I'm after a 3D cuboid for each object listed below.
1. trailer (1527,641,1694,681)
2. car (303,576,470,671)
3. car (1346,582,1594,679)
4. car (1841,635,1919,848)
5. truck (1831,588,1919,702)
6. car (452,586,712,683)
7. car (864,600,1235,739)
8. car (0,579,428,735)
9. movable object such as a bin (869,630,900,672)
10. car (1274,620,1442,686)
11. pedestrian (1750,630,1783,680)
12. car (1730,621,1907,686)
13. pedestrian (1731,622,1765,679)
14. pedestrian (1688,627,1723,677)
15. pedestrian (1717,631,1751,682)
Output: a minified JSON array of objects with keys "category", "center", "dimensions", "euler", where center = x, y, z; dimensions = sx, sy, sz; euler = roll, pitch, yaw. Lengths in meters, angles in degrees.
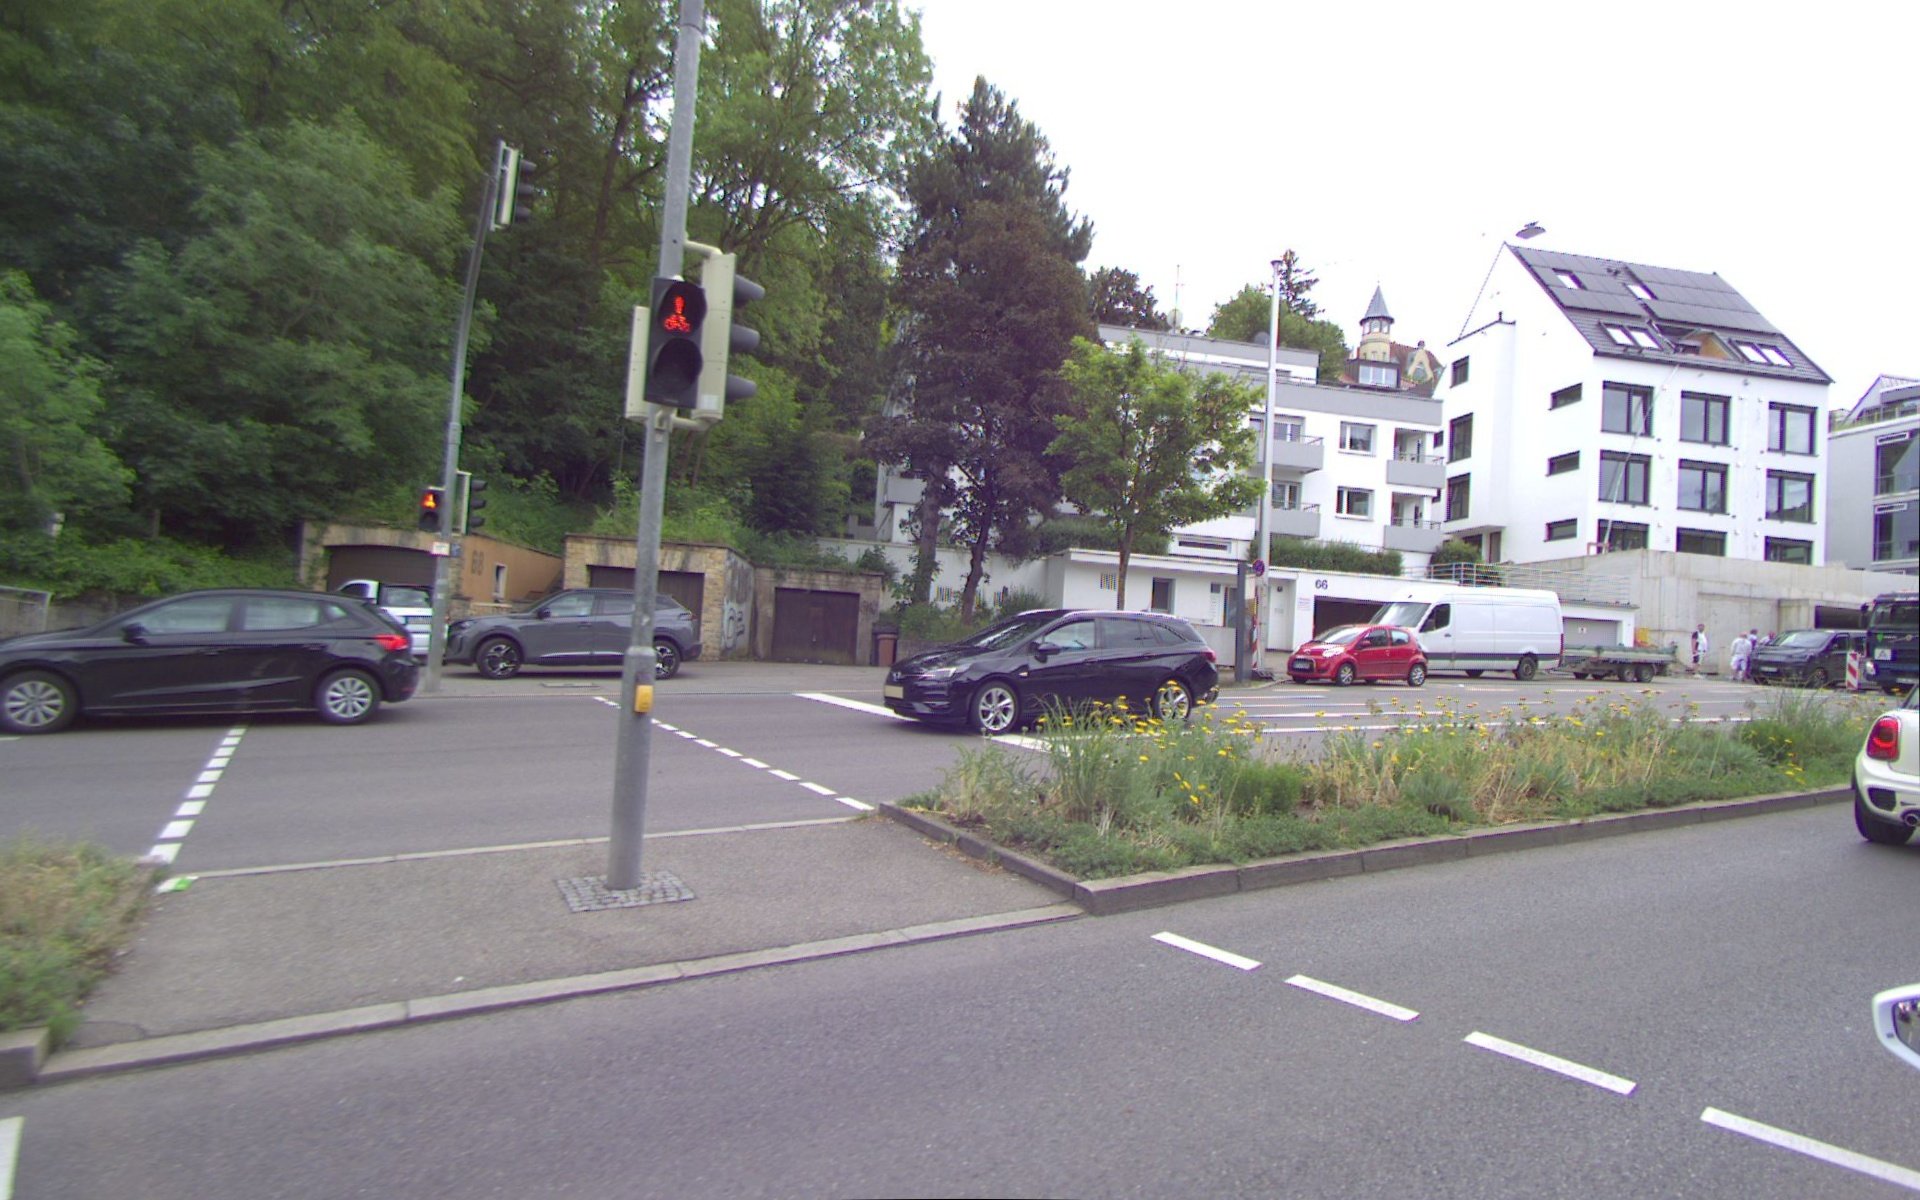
[{"category":"trailer","center":[20.450,1.918,31.609],"dimensions":[4.555,1.126,2.242],"euler":[2,-1,-22]},{"category":"car","center":[-10.910,0.421,19.100],"dimensions":[2.662,1.540,1.561],"euler":[4,0,29]},{"category":"car","center":[14.970,0.942,29.393],"dimensions":[7.314,2.602,2.227],"euler":[2,-1,-22]},{"category":"car","center":[8.108,0.982,7.172],"dimensions":[3.522,1.411,1.621],"euler":[2,-2,-28]},{"category":"truck","center":[29.451,1.319,28.586],"dimensions":[8.837,3.010,2.959],"euler":[2,0,-18]},{"category":"car","center":[-6.569,0.622,17.654],"dimensions":[4.075,1.560,1.589],"euler":[2,-1,-24]},{"category":"car","center":[1.188,0.846,12.823],"dimensions":[4.496,1.521,1.686],"euler":[2,0,-27]},{"category":"car","center":[-7.960,0.573,10.825],"dimensions":[3.814,1.412,1.616],"euler":[2,1,-32]},{"category":"movable object such as a bin","center":[-1.938,1.314,25.847],"dimensions":[0.716,1.025,0.641],"euler":[2,0,-1]},{"category":"car","center":[9.679,1.276,24.412],"dimensions":[3.875,1.485,1.616],"euler":[2,-1,-26]},{"category":"pedestrian","center":[27.957,1.893,34.831],"dimensions":[0.662,1.662,0.672],"euler":[2,1,20]},{"category":"car","center":[28.131,1.744,32.934],"dimensions":[5.134,1.993,1.982],"euler":[2,-1,-17]},{"category":"pedestrian","center":[26.969,1.719,34.387],"dimensions":[0.662,1.865,0.672],"euler":[2,1,20]},{"category":"pedestrian","center":[25.566,1.780,34.467],"dimensions":[0.660,1.662,0.626],"euler":[2,1,-9]},{"category":"pedestrian","center":[26.031,1.882,33.796],"dimensions":[0.662,1.662,0.672],"euler":[2,1,20]}]
